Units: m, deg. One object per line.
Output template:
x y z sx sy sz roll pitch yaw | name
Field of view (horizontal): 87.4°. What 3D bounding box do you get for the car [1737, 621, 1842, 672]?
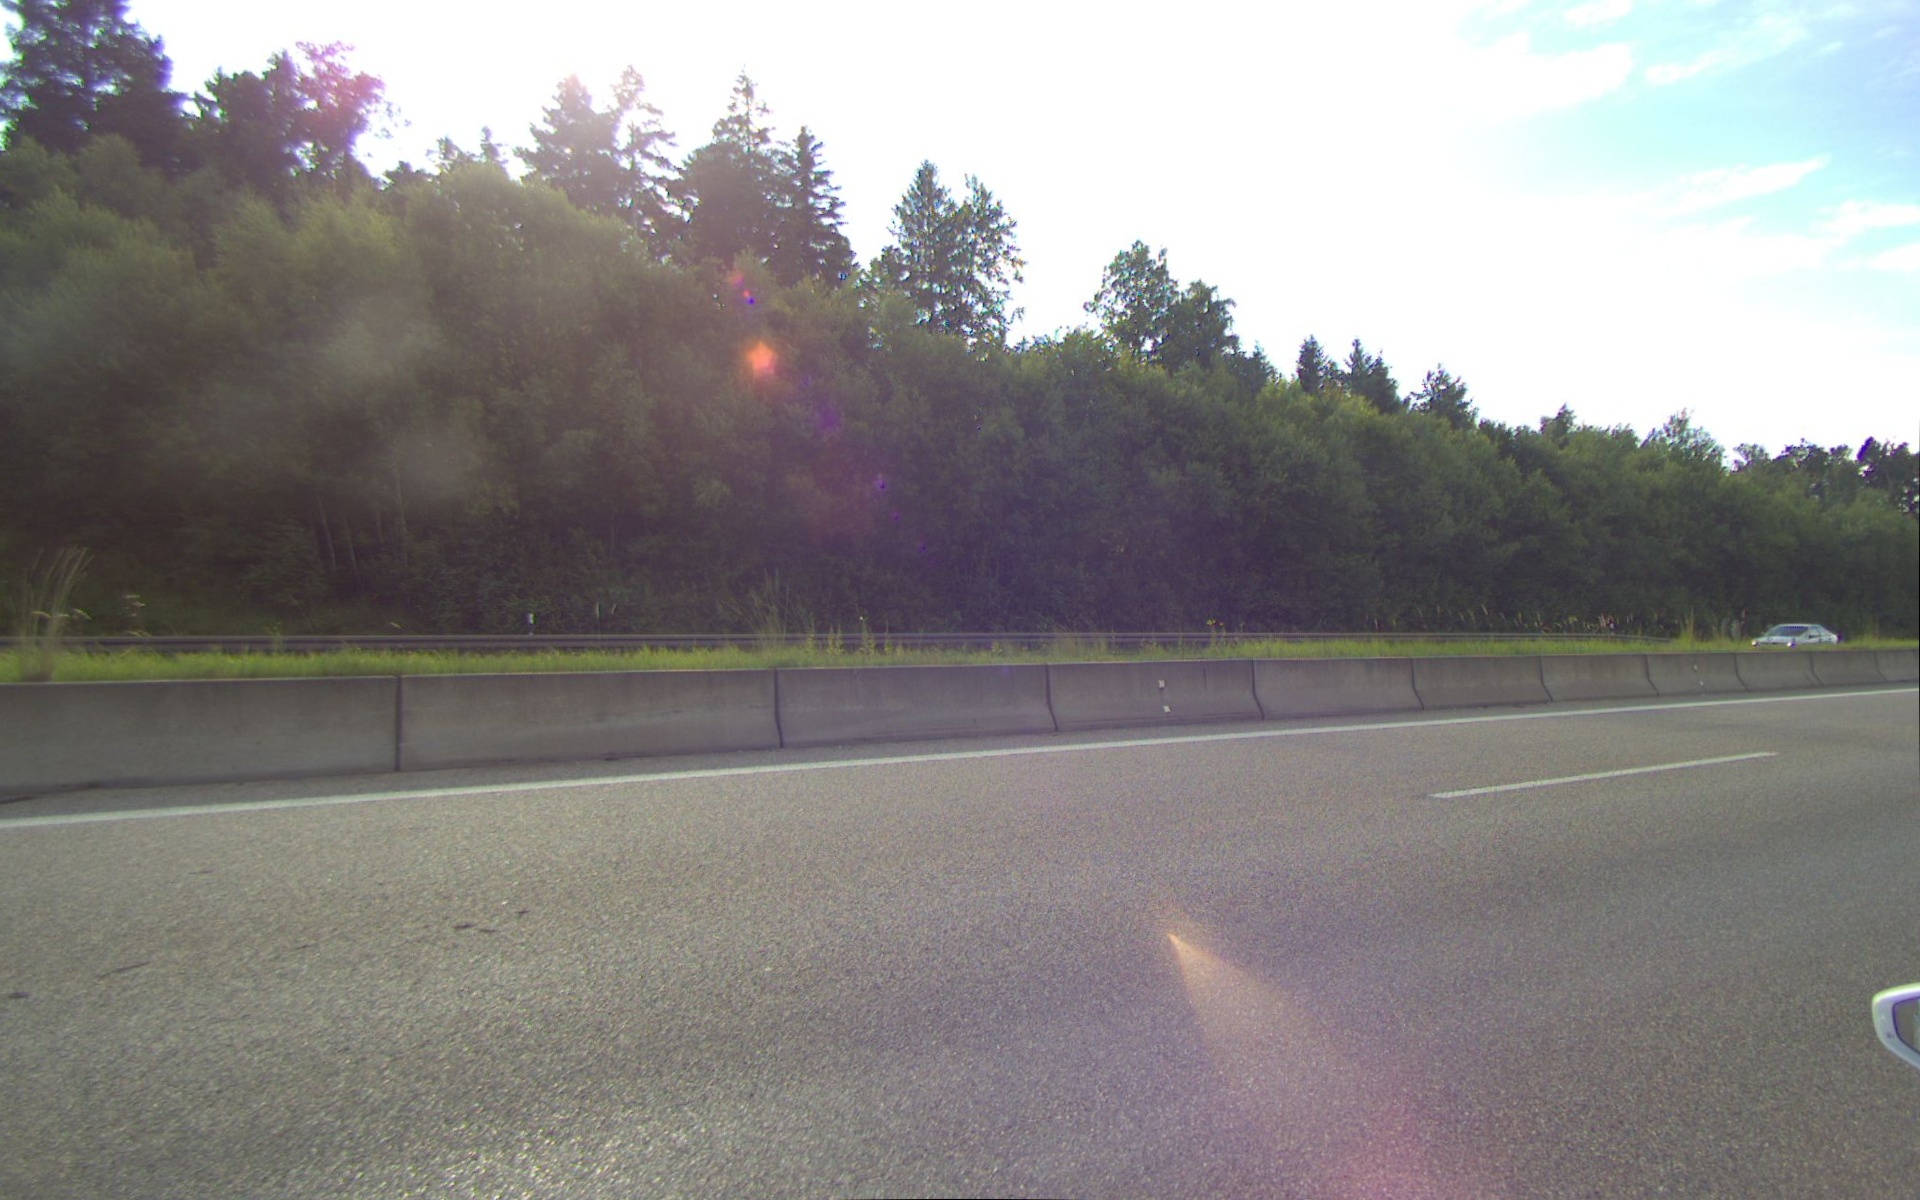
33.511 1.837 40.551 4.378 1.930 1.916 1 0 -31 | car
